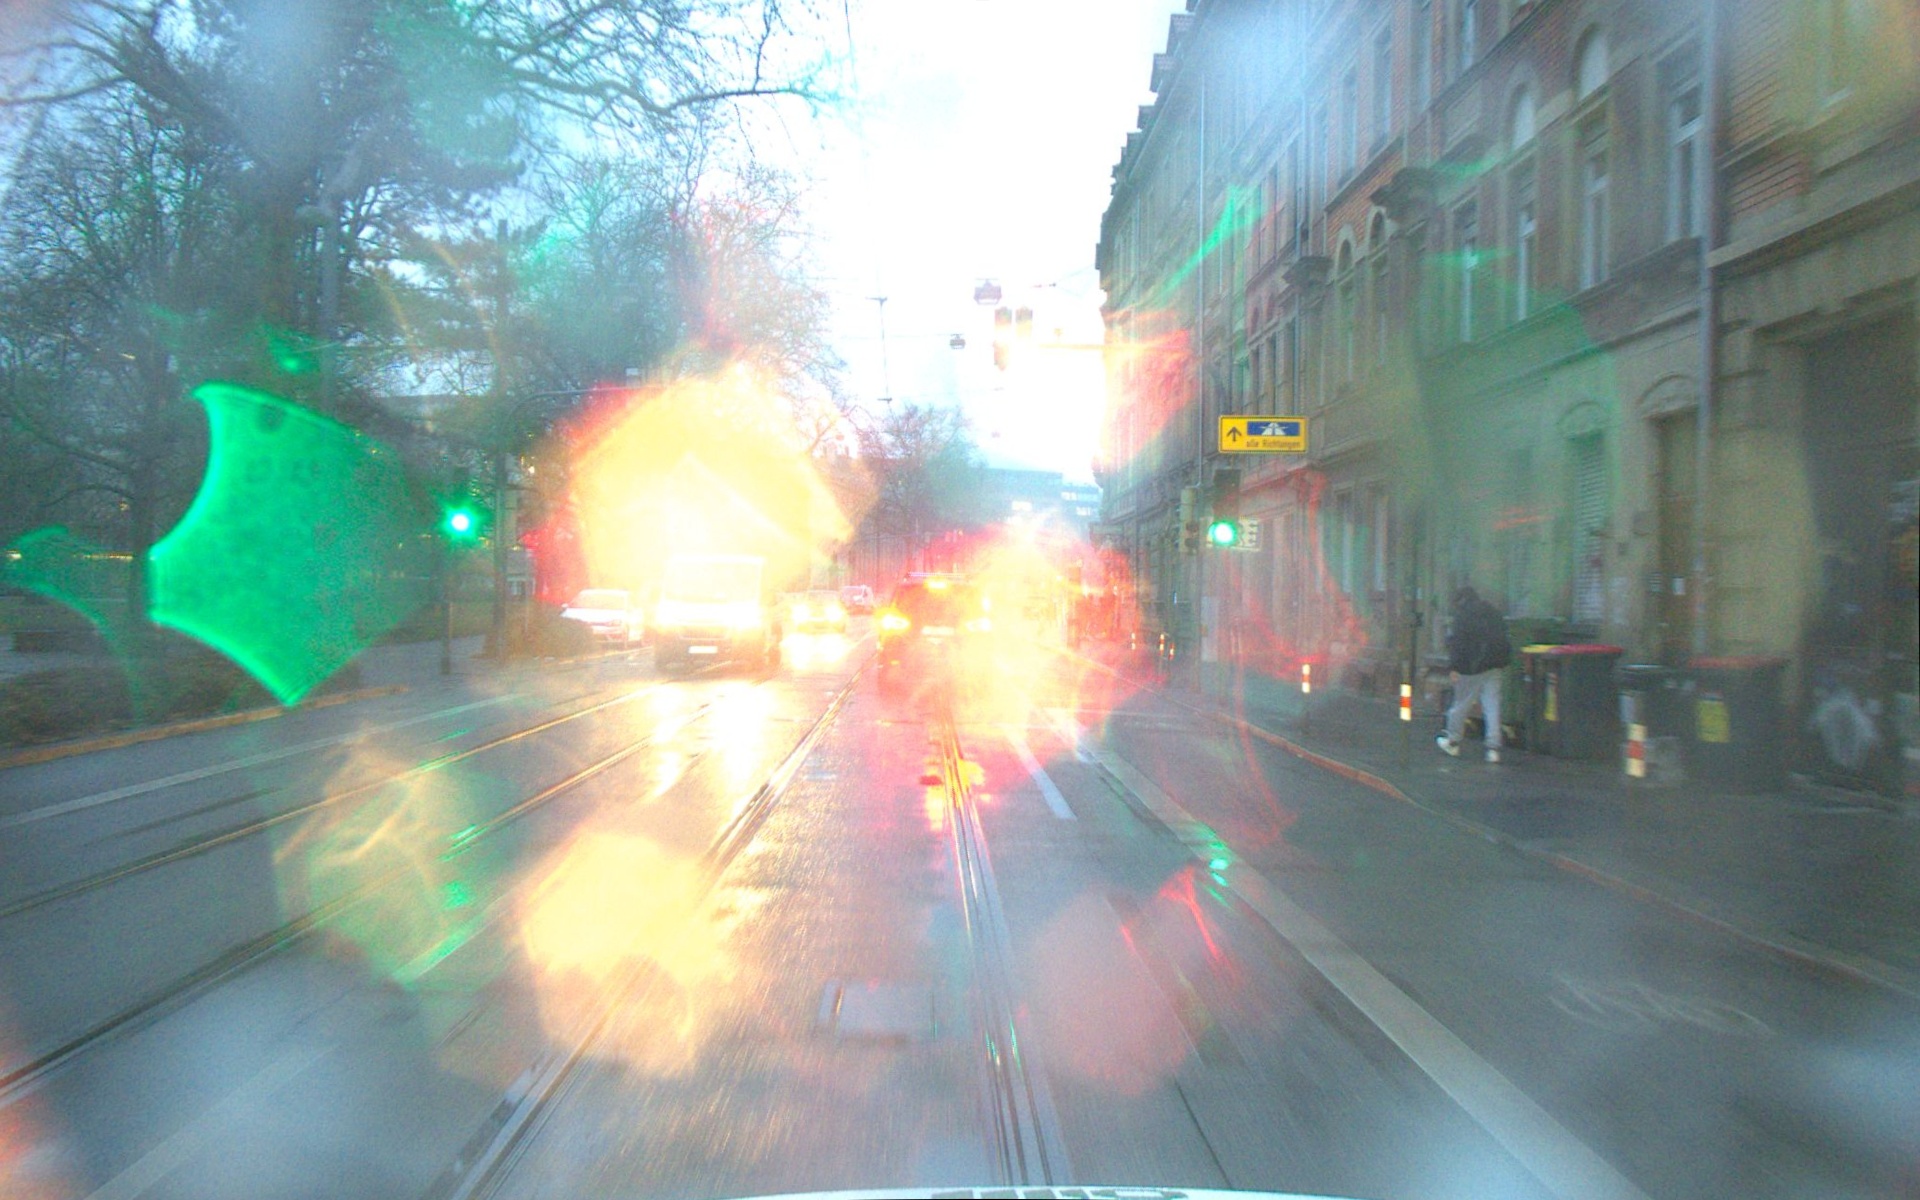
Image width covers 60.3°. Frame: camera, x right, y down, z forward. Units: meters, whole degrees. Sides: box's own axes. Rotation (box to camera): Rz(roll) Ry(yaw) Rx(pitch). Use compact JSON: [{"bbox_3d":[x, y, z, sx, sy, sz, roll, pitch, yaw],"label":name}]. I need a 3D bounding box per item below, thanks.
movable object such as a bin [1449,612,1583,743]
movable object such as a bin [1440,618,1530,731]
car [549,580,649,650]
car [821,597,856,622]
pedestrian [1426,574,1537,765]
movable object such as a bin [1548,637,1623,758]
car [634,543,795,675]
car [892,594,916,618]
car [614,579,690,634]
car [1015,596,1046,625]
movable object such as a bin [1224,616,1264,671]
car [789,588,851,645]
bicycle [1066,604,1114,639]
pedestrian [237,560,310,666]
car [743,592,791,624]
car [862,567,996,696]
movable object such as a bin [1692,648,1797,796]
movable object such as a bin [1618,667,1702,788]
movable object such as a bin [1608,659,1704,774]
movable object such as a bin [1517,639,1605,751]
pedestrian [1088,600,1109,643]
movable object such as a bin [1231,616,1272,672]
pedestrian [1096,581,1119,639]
[{"bbox_3d":[5.861,0.796,17.513,0.871,1.311,1.260,0,0,-8],"label":"movable object such as a bin"},{"bbox_3d":[5.924,0.831,18.698,0.749,1.232,0.818,0,0,-1],"label":"movable object such as a bin"},{"bbox_3d":[-9.246,0.379,42.648,1.945,1.643,4.424,1,0,-5],"label":"car"},{"bbox_3d":[-8.438,0.647,115.317,1.943,1.644,4.429,1,0,1],"label":"car"},{"bbox_3d":[4.929,0.639,15.698,0.817,1.731,0.954,1,-1,7],"label":"pedestrian"},{"bbox_3d":[5.969,0.919,15.799,0.598,1.101,0.600,0,0,14],"label":"movable object such as a bin"},{"bbox_3d":[-4.724,0.173,32.858,2.397,2.388,5.843,0,0,-1],"label":"car"},{"bbox_3d":[-4.857,0.522,144.116,1.953,2.049,3.999,1,0,-1],"label":"car"},{"bbox_3d":[-9.821,0.224,53.054,1.945,1.643,4.424,1,0,-5],"label":"car"},{"bbox_3d":[4.684,0.684,109.630,1.952,1.874,4.001,1,0,1],"label":"car"},{"bbox_3d":[5.668,0.859,33.031,0.627,1.073,0.744,1,-1,-1],"label":"movable object such as a bin"},{"bbox_3d":[-5.306,0.633,63.191,1.952,2.049,4.000,1,0,1],"label":"car"},{"bbox_3d":[4.462,0.741,56.887,0.781,1.164,2.230,2,0,-20],"label":"bicycle"},{"bbox_3d":[-12.293,0.229,29.646,0.803,1.847,1.010,1,-1,2],"label":"pedestrian"},{"bbox_3d":[-10.417,0.436,89.482,1.943,1.644,4.430,1,0,2],"label":"car"},{"bbox_3d":[-0.415,0.470,26.640,1.952,1.874,4.001,1,0,1],"label":"car"},{"bbox_3d":[6.143,0.941,12.959,0.605,1.099,0.486,0,0,-30],"label":"movable object such as a bin"},{"bbox_3d":[5.725,1.030,13.532,0.482,0.945,0.421,0,0,-28],"label":"movable object such as a bin"},{"bbox_3d":[5.915,0.983,14.070,0.599,0.945,0.491,0,0,-3],"label":"movable object such as a bin"},{"bbox_3d":[5.959,0.928,16.430,0.748,1.056,0.600,0,0,14],"label":"movable object such as a bin"},{"bbox_3d":[5.822,0.901,69.625,0.756,1.806,0.684,1,-1,-1],"label":"pedestrian"},{"bbox_3d":[5.685,0.855,32.264,0.627,1.073,0.744,1,-1,-1],"label":"movable object such as a bin"},{"bbox_3d":[5.092,0.336,57.113,0.701,1.987,0.657,1,-1,-1],"label":"pedestrian"}]
